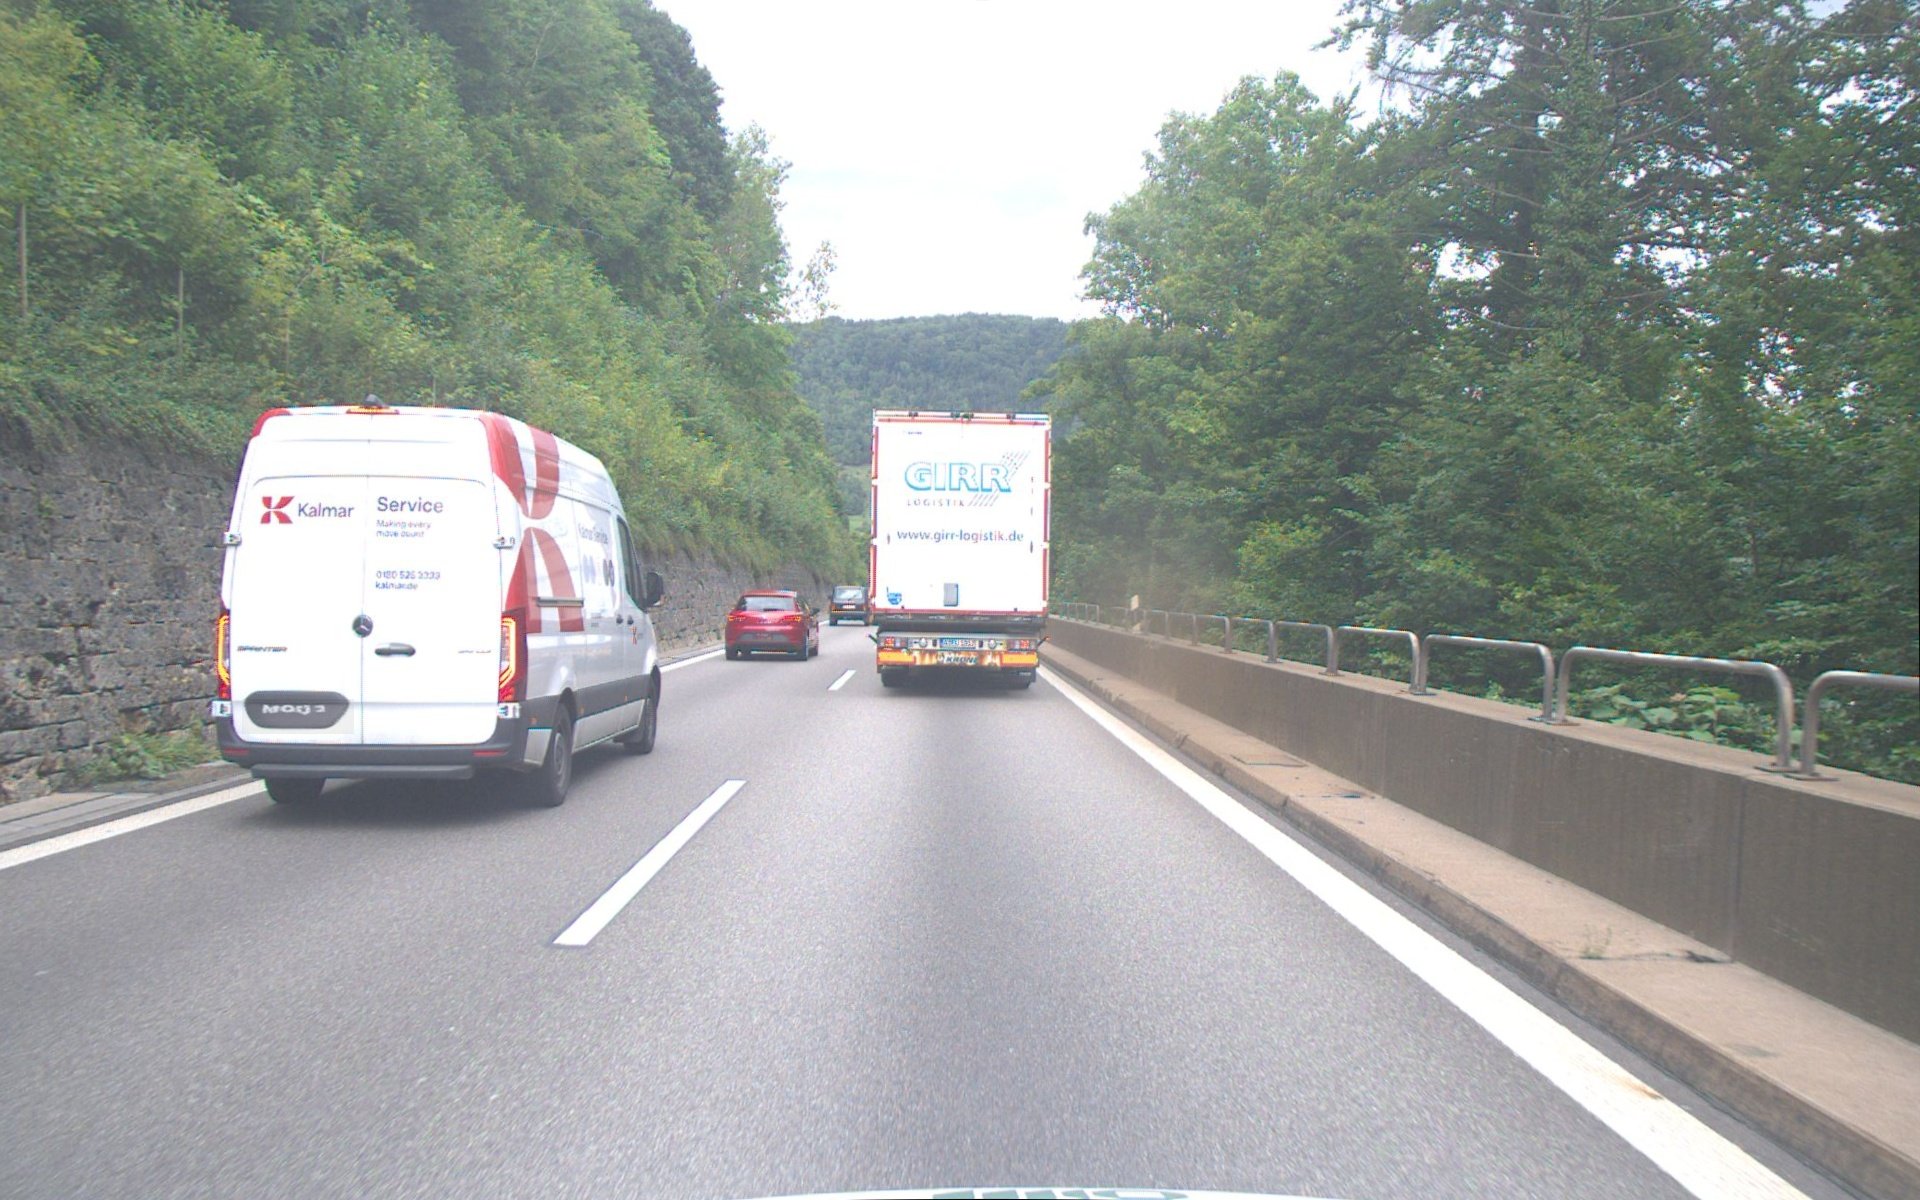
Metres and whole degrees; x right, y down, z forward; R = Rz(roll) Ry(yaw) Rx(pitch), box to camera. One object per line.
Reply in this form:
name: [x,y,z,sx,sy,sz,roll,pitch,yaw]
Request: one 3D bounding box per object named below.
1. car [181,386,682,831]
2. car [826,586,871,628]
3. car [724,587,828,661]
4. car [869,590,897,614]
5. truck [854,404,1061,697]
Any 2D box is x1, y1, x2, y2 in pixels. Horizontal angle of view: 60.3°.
car: [-3.654,0.058,12.933,1.985,2.630,6.273,0,0,-1]
car: [-4.624,0.291,69.113,1.635,1.667,4.067,0,0,-1]
car: [-3.917,0.496,35.759,1.730,1.485,4.411,0,0,0]
car: [-5.053,0.148,108.431,1.694,1.512,3.999,0,0,-1]
truck: [-0.024,-0.685,27.414,2.849,4.030,9.278,0,0,0]
